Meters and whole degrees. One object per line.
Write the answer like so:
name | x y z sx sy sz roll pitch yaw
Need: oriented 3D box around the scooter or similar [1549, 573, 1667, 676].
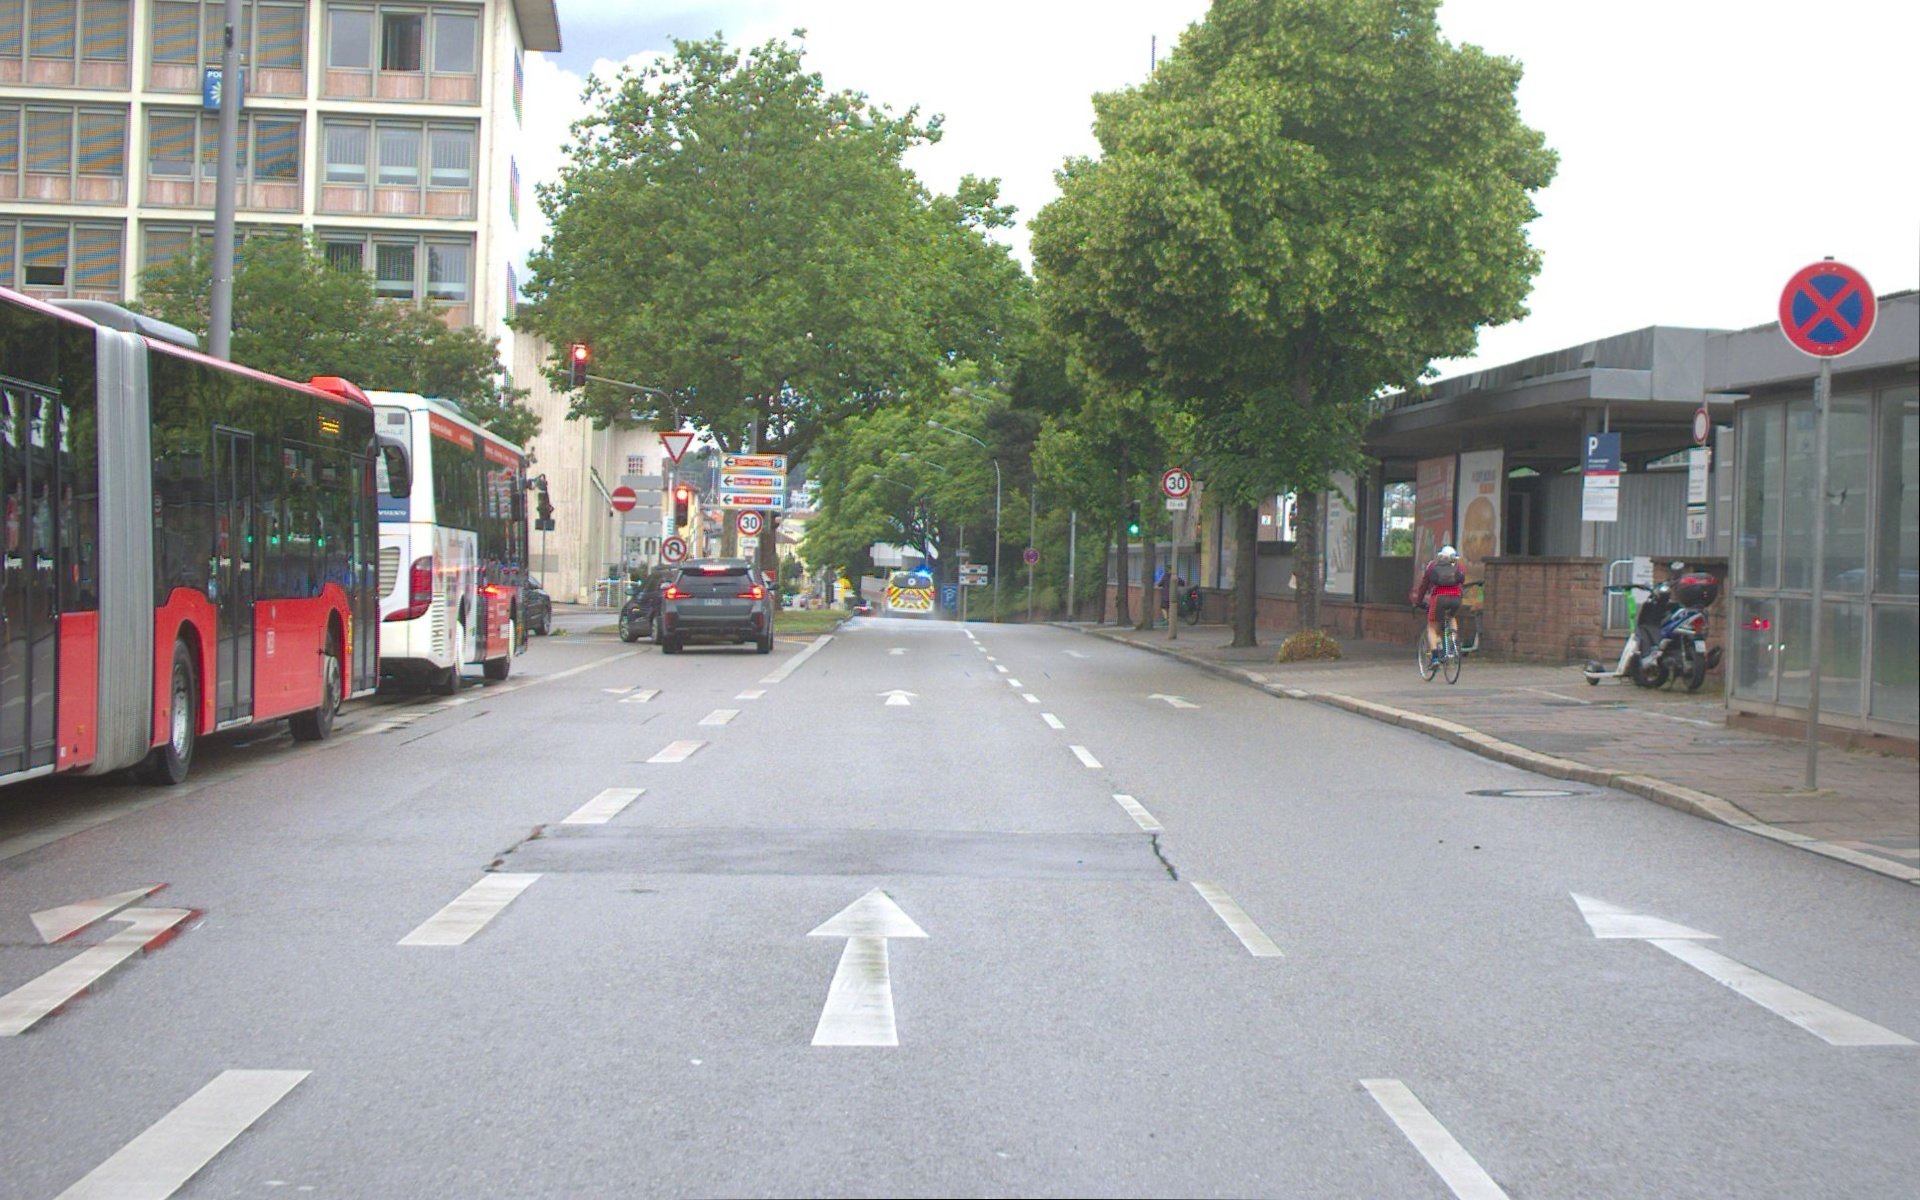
scooter or similar | 7.404 0.268 39.363 0.492 1.149 1.716 1 0 -21

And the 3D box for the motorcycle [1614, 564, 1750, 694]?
motorcycle | 7.734 0.288 36.954 0.791 1.343 2.457 1 1 -4

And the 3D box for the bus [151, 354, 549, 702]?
bus | -6.825 -0.791 40.527 2.955 3.428 12.560 1 1 -3

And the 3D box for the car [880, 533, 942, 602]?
car | -1.946 -1.270 134.492 2.264 2.647 4.001 0 1 -3

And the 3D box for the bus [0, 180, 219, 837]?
bus | -6.151 -0.463 17.621 2.809 3.234 9.914 0 1 -2

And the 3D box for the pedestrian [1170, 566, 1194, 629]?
pedestrian | 5.524 -0.065 85.571 0.457 1.563 0.392 0 0 31

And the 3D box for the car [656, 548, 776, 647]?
car | -4.166 -0.058 59.226 1.964 1.634 4.359 0 0 -3

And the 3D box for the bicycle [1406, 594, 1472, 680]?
bicycle | 5.852 0.441 42.057 0.446 1.013 1.678 -2 1 -3

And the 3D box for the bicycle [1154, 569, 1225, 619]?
bicycle | 5.736 -0.153 85.986 1.723 1.244 0.485 0 1 30

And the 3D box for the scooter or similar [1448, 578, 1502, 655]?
scooter or similar | 7.822 0.239 52.245 0.492 1.149 1.545 1 0 -4

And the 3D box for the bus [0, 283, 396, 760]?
bus | -6.420 -0.569 26.947 2.752 3.122 8.843 0 1 -1

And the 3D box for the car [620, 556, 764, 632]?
car | -5.205 -0.126 66.229 1.815 1.404 4.415 0 0 -17

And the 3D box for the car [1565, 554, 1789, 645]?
car | 12.286 -0.019 59.081 3.558 1.537 1.747 0 1 4

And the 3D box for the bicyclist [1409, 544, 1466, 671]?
bicyclist | 5.833 0.083 42.026 0.533 1.533 0.694 -1 0 -4
